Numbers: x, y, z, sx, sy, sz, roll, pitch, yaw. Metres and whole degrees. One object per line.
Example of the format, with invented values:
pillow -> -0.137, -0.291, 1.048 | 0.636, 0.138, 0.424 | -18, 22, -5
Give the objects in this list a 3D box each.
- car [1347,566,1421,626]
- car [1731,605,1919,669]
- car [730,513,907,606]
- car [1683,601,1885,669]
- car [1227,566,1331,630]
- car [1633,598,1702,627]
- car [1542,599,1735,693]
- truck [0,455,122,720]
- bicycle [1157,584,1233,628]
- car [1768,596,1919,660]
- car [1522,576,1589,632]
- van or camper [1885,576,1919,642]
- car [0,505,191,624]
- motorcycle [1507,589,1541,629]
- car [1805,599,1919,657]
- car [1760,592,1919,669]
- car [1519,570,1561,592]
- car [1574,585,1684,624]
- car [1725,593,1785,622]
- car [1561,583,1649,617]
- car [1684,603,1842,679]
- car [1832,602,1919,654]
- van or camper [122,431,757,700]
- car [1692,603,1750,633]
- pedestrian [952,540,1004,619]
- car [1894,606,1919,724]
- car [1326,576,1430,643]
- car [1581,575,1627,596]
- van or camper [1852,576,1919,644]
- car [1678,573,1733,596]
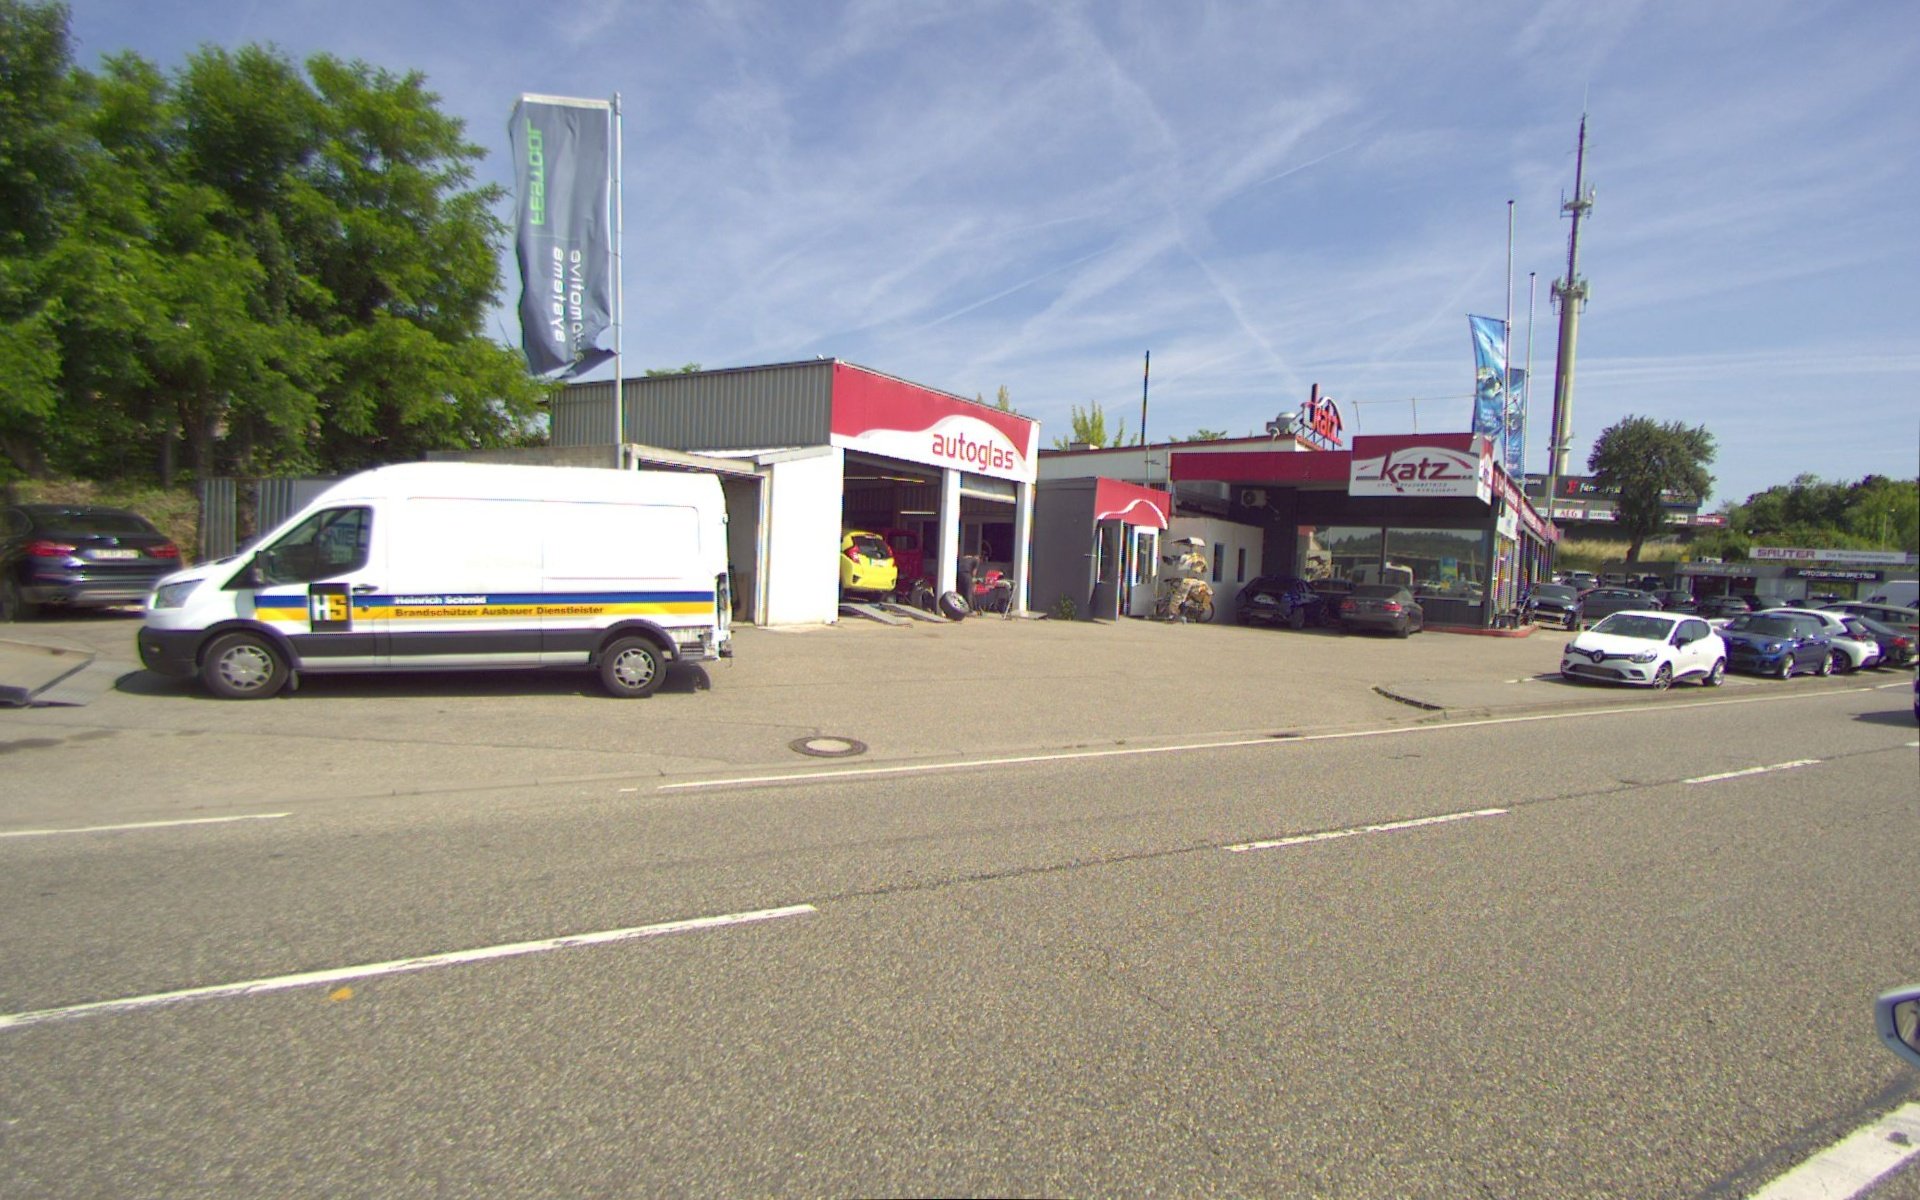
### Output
car -> 14.429, -0.144, 34.085 | 1.674, 1.782, 3.753 | 6, 4, 30
car -> 23.840, 0.957, 27.733 | 1.775, 1.546, 3.681 | 1, 1, -36
car -> -3.174, -0.925, 22.316 | 3.610, 1.748, 1.734 | 7, 4, 34
car -> 21.655, 0.862, 26.521 | 1.829, 1.546, 3.769 | 1, 1, -36
car -> 9.339, -0.136, 29.202 | 1.827, 1.525, 3.989 | 7, 6, 32
car -> 42.873, 0.755, 60.958 | 1.733, 1.609, 3.830 | 2, 1, 5
car -> 13.639, 0.877, 20.158 | 3.957, 1.640, 1.768 | 1, 2, -33
truck -> -12.575, -0.303, 8.010 | 8.694, 2.328, 2.320 | 1, 6, -29
bicycle -> 6.511, 0.161, 27.874 | 1.966, 0.984, 0.414 | 8, 5, 35
car -> 27.810, 0.861, 30.840 | 1.818, 1.505, 4.246 | 1, 5, -36
car -> 21.625, 0.161, 36.576 | 1.795, 1.696, 4.119 | 9, 4, 30
van or camper -> 42.185, 0.462, 41.610 | 2.187, 2.768, 5.213 | 1, 2, -33
car -> -13.096, -0.547, 14.804 | 3.609, 1.550, 1.734 | 3, 2, 34
motorcycle -> 18.743, 0.283, 33.372 | 0.759, 1.278, 2.048 | 2, 1, 35
car -> 30.124, 0.947, 32.177 | 1.781, 1.505, 4.268 | 1, 5, -36
car -> 25.888, 0.843, 29.051 | 1.789, 1.740, 3.858 | 1, 5, -36
car -> 43.726, -1.417, 75.798 | 1.701, 1.558, 3.750 | 3, 1, 14
car -> 29.381, 0.168, 44.247 | 3.882, 1.553, 1.764 | 2, 1, 33
car -> 47.074, 0.421, 59.580 | 1.735, 1.609, 3.827 | 2, 1, 22
car -> 33.530, -0.009, 52.288 | 3.763, 1.609, 1.764 | 2, 1, 33
car -> 19.353, 0.962, 24.178 | 3.741, 1.514, 1.768 | 1, 5, -33
car -> 32.482, 1.044, 33.772 | 1.755, 1.505, 4.427 | 1, 5, -36
van or camper -> -5.468, -0.334, 11.471 | 5.859, 2.533, 2.150 | 2, 5, -20
car -> 45.050, 1.040, 59.573 | 1.735, 1.609, 3.827 | 2, 1, 22
pedestrian -> 0.412, -0.468, 23.370 | 0.884, 1.786, 0.718 | 2, 2, -31
car -> 15.901, 0.980, 15.004 | 3.956, 1.697, 1.925 | 1, 0, -32
car -> 11.761, 0.181, 28.106 | 1.828, 1.525, 4.383 | 6, 5, 33
car -> 47.688, -1.085, 74.419 | 1.701, 1.470, 3.750 | 3, 1, 14
van or camper -> 43.403, 0.492, 44.115 | 2.266, 2.912, 5.854 | 0, 2, -34
car -> 52.328, -1.078, 70.573 | 1.701, 1.470, 3.750 | 3, 1, 14
